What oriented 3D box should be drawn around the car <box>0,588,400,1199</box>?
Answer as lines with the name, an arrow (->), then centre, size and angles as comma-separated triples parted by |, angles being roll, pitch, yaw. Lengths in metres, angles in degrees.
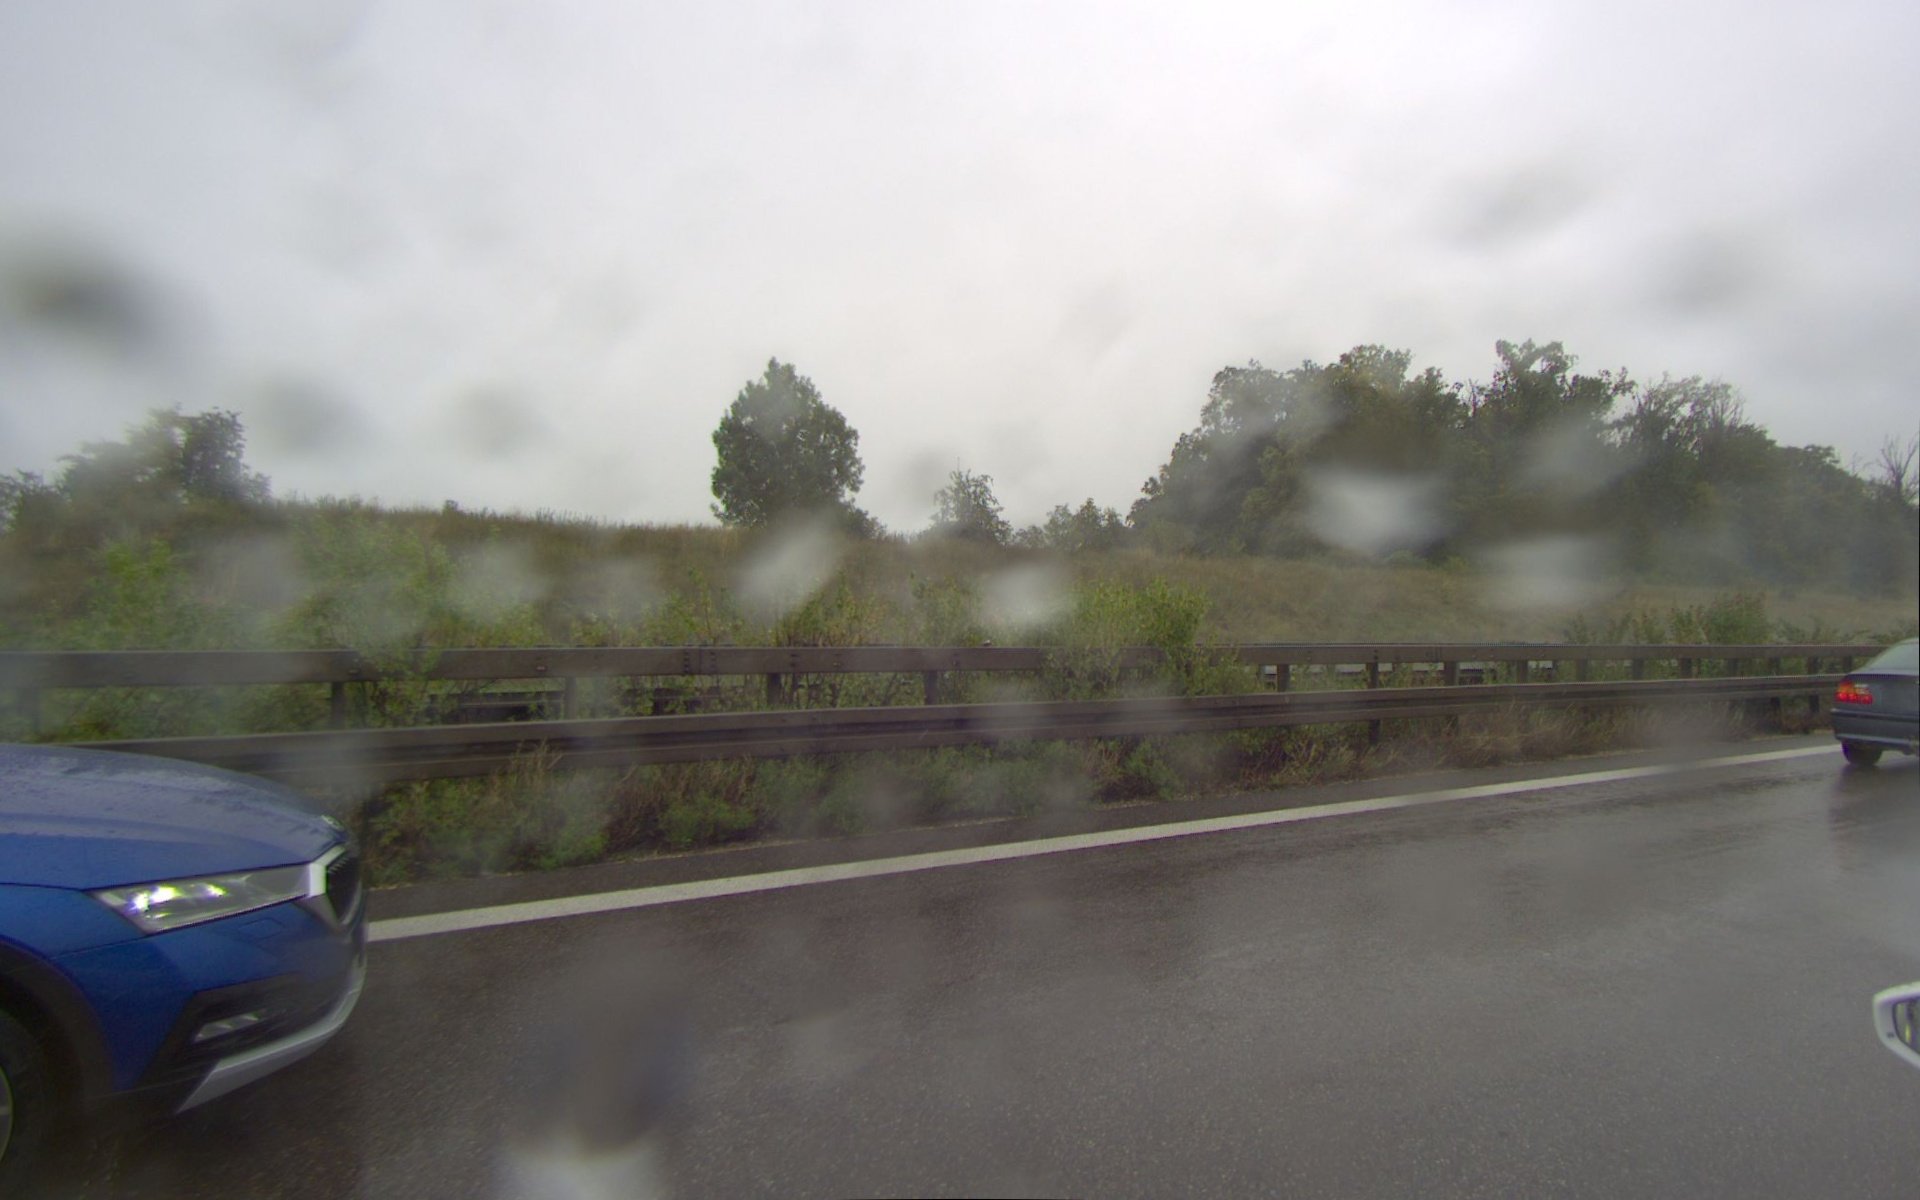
car -> -3.774, 0.693, 2.161 | 4.459, 1.496, 1.777 | 1, -1, -30

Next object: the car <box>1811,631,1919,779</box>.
car -> 11.157, 1.085, 10.798 | 4.178, 1.418, 1.710 | 2, -1, -29
